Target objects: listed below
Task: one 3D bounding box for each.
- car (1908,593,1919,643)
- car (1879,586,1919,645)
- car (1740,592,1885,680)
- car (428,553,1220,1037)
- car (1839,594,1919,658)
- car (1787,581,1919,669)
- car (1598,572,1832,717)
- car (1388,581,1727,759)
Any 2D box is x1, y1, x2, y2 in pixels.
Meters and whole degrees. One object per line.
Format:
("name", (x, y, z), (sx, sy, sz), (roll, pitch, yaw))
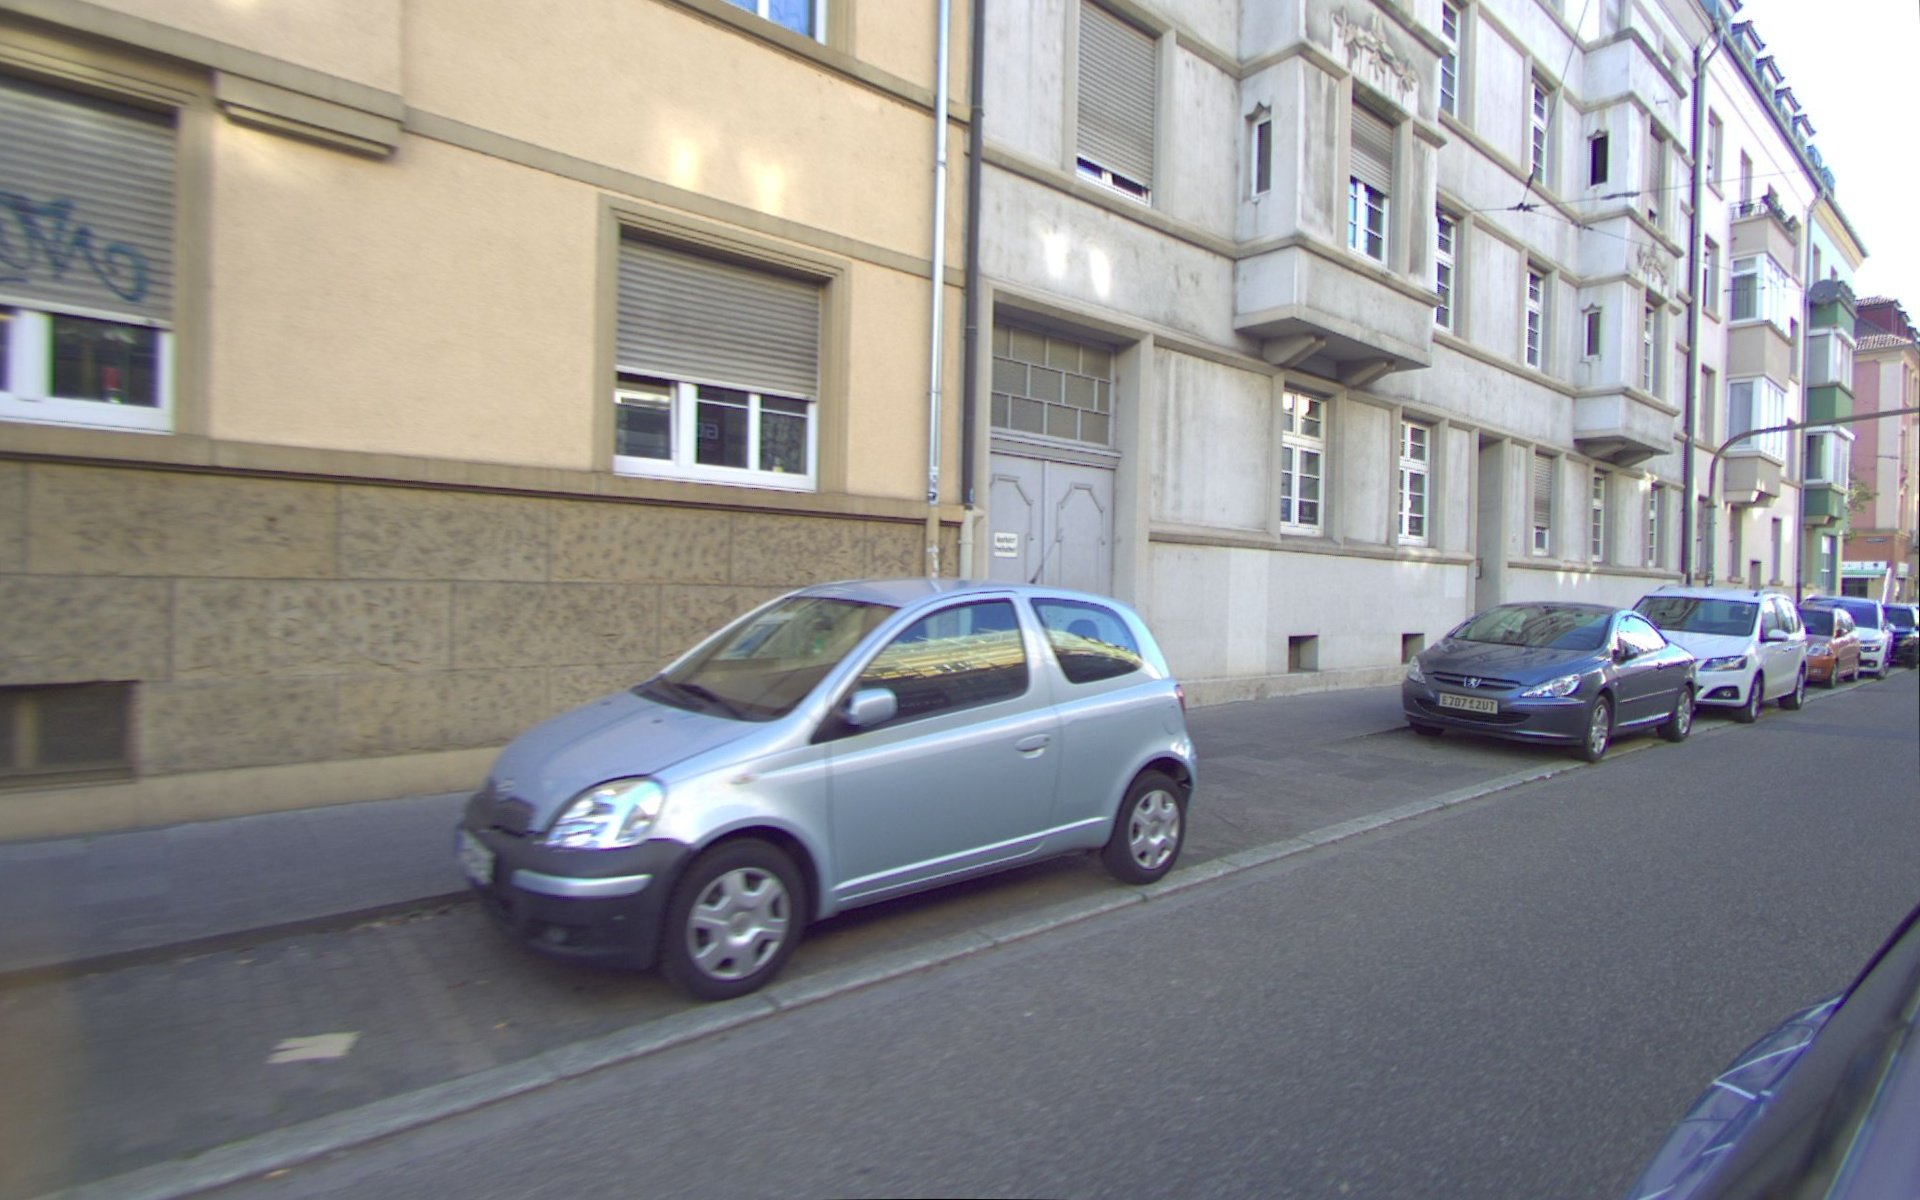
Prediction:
("car", (32.593, 0.614, 33.185), (3.294, 1.610, 1.703), (0, 3, -39))
("car", (28.012, 0.441, 29.239), (3.891, 1.610, 1.702), (0, 1, -41))
("car", (16.653, 0.638, 19.737), (3.305, 1.502, 1.570), (0, 3, -40))
("car", (-0.469, 0.576, 4.845), (3.418, 1.481, 1.612), (0, 2, -40))
("car", (24.131, 0.622, 26.038), (3.794, 1.524, 1.702), (0, 1, -40))
("car", (19.945, 0.493, 22.366), (4.111, 1.719, 1.703), (0, 2, -38))
("car", (10.822, 0.520, 14.374), (4.510, 1.714, 1.712), (0, 2, -41))
("car", (6.365, 0.588, 10.602), (4.130, 1.470, 1.704), (0, 2, -39))
